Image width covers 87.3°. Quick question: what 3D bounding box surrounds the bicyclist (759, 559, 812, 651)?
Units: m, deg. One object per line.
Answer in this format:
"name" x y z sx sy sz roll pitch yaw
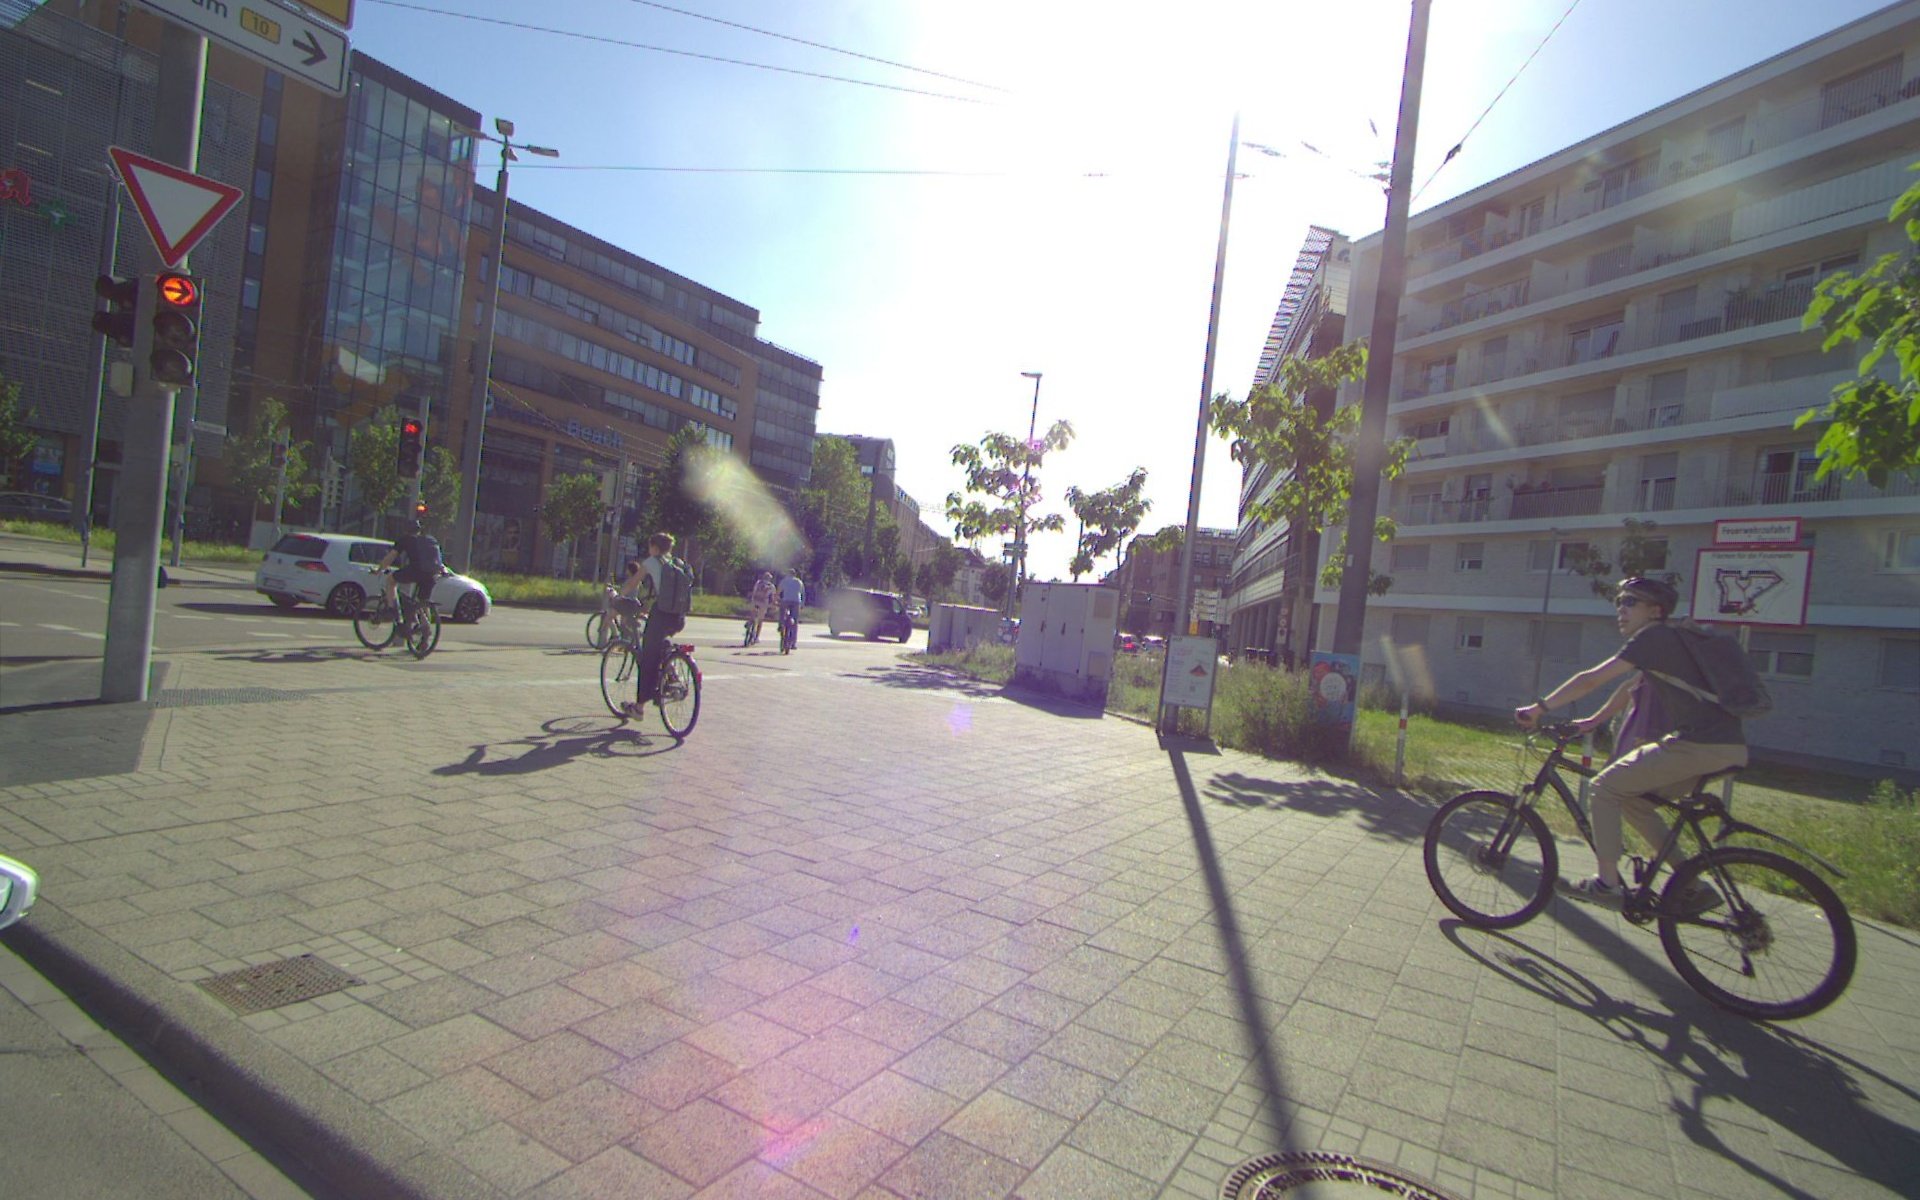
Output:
"bicyclist" -3.771 0.126 21.797 0.795 1.888 0.750 6 0 5

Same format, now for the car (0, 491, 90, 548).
"car" -33.075 -2.965 34.704 1.810 1.484 4.161 6 -5 30

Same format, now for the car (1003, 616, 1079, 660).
"car" 3.667 1.749 44.972 1.679 1.531 4.275 7 -2 28

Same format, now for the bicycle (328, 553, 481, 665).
"bicycle" -7.265 0.101 13.126 2.117 1.212 0.637 6 0 29

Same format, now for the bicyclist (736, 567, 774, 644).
"bicyclist" -5.013 0.153 24.522 0.705 1.745 1.092 6 -2 -13

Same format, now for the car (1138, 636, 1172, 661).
"car" 14.363 3.590 74.008 1.677 1.515 4.281 7 -2 19

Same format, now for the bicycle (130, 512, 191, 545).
"bicycle" -40.518 -3.614 51.038 0.595 1.310 2.260 7 -2 30

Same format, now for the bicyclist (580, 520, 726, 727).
"bicyclist" -2.647 0.195 8.657 0.959 1.649 0.665 7 0 44

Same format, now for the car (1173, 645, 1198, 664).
"car" 21.663 5.271 96.627 1.677 1.515 4.281 7 -2 19

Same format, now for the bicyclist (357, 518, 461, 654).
"bicyclist" -7.175 -0.179 13.094 0.955 1.649 0.630 7 0 29

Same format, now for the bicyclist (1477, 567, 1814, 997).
"bicyclist" 3.155 0.763 4.668 0.730 1.715 0.961 6 0 -37

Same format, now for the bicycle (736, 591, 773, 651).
"bicycle" -4.981 0.501 24.322 0.705 1.343 1.745 5 -2 -14

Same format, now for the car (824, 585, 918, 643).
"car" -3.263 0.578 37.824 1.677 1.813 4.474 7 -1 19

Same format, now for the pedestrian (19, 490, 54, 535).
"pedestrian" -41.105 -3.887 44.770 0.834 1.850 0.949 3 -1 37

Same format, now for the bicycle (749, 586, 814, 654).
"bicycle" -3.834 0.441 21.788 0.744 1.316 2.156 6 -1 4

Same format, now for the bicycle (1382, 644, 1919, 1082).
"bicycle" 3.173 1.015 4.632 0.731 1.377 2.054 6 0 -37

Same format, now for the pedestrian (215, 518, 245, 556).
"pedestrian" -38.797 -3.352 53.488 1.023 1.852 1.008 6 2 -27

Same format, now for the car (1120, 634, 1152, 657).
"car" 13.912 3.628 79.483 1.677 1.515 4.281 7 -2 19

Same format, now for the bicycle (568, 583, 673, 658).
"bicycle" -5.855 0.342 17.315 1.791 1.085 0.667 6 0 34

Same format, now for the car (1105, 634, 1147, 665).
"car" 10.240 3.054 61.637 1.675 1.591 4.874 7 -1 18

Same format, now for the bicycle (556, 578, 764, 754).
"bicycle" -2.616 0.515 8.597 2.127 1.212 0.665 6 0 45

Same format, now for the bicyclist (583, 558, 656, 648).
"bicyclist" -5.890 0.055 17.409 0.926 1.453 0.667 4 -1 35

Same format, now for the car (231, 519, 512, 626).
"car" -10.996 -0.434 19.176 1.831 1.490 4.296 7 -1 22

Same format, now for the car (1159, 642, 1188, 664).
"car" 17.656 4.387 83.077 1.677 1.515 4.281 7 -2 19
